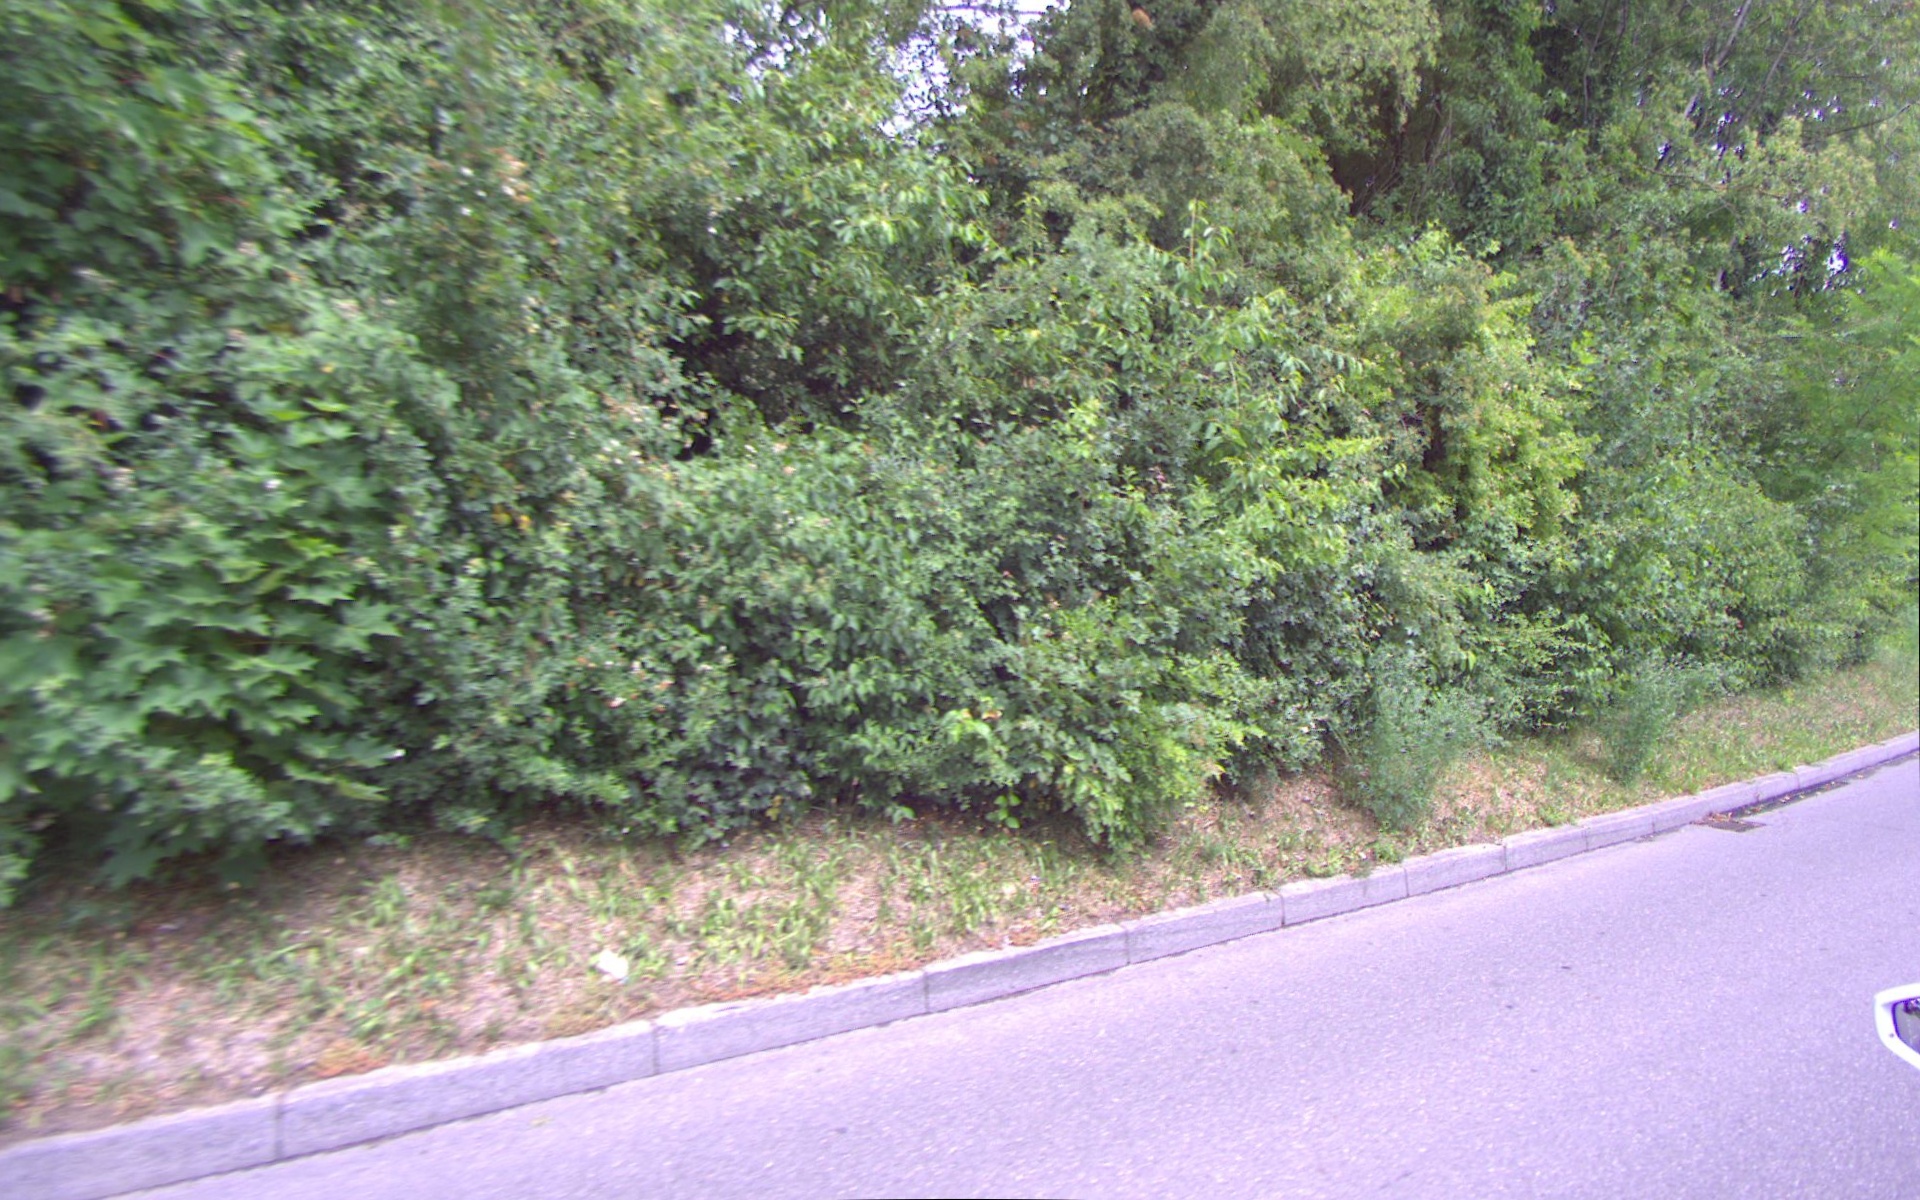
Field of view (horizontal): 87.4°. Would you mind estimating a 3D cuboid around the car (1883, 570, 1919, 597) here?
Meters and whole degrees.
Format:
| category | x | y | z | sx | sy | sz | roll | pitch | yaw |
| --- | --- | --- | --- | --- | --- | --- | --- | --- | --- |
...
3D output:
| category | x | y | z | sx | sy | sz | roll | pitch | yaw |
| --- | --- | --- | --- | --- | --- | --- | --- | --- | --- |
| car | 62.560 | -1.082 | 66.022 | 1.778 | 1.622 | 4.362 | 2 | 4 | 29 |
